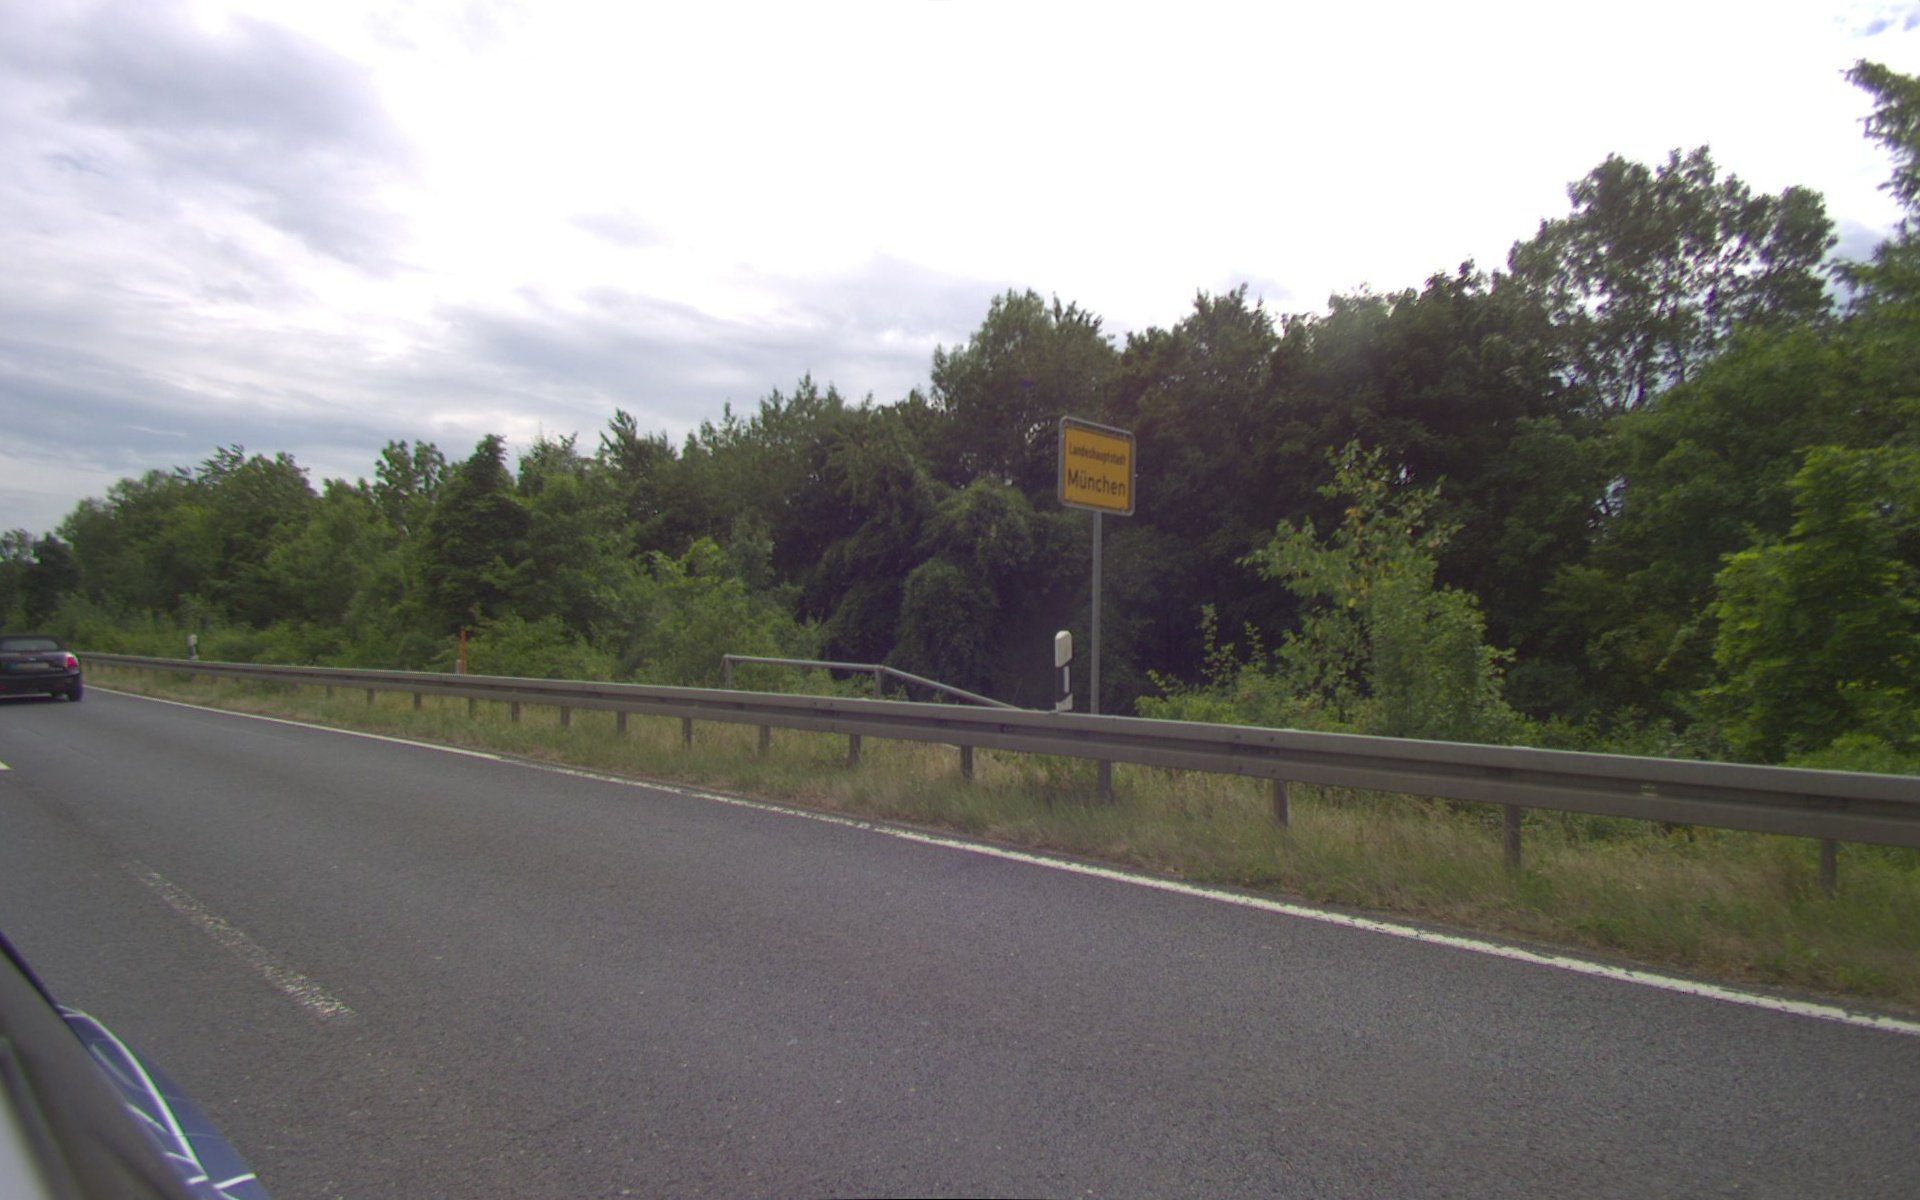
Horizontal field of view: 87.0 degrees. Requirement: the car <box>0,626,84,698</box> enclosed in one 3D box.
[{"bbox_3d":[-20.392,1.300,21.779,3.998,1.431,1.816,-2,-2,41],"label":"car"}]
